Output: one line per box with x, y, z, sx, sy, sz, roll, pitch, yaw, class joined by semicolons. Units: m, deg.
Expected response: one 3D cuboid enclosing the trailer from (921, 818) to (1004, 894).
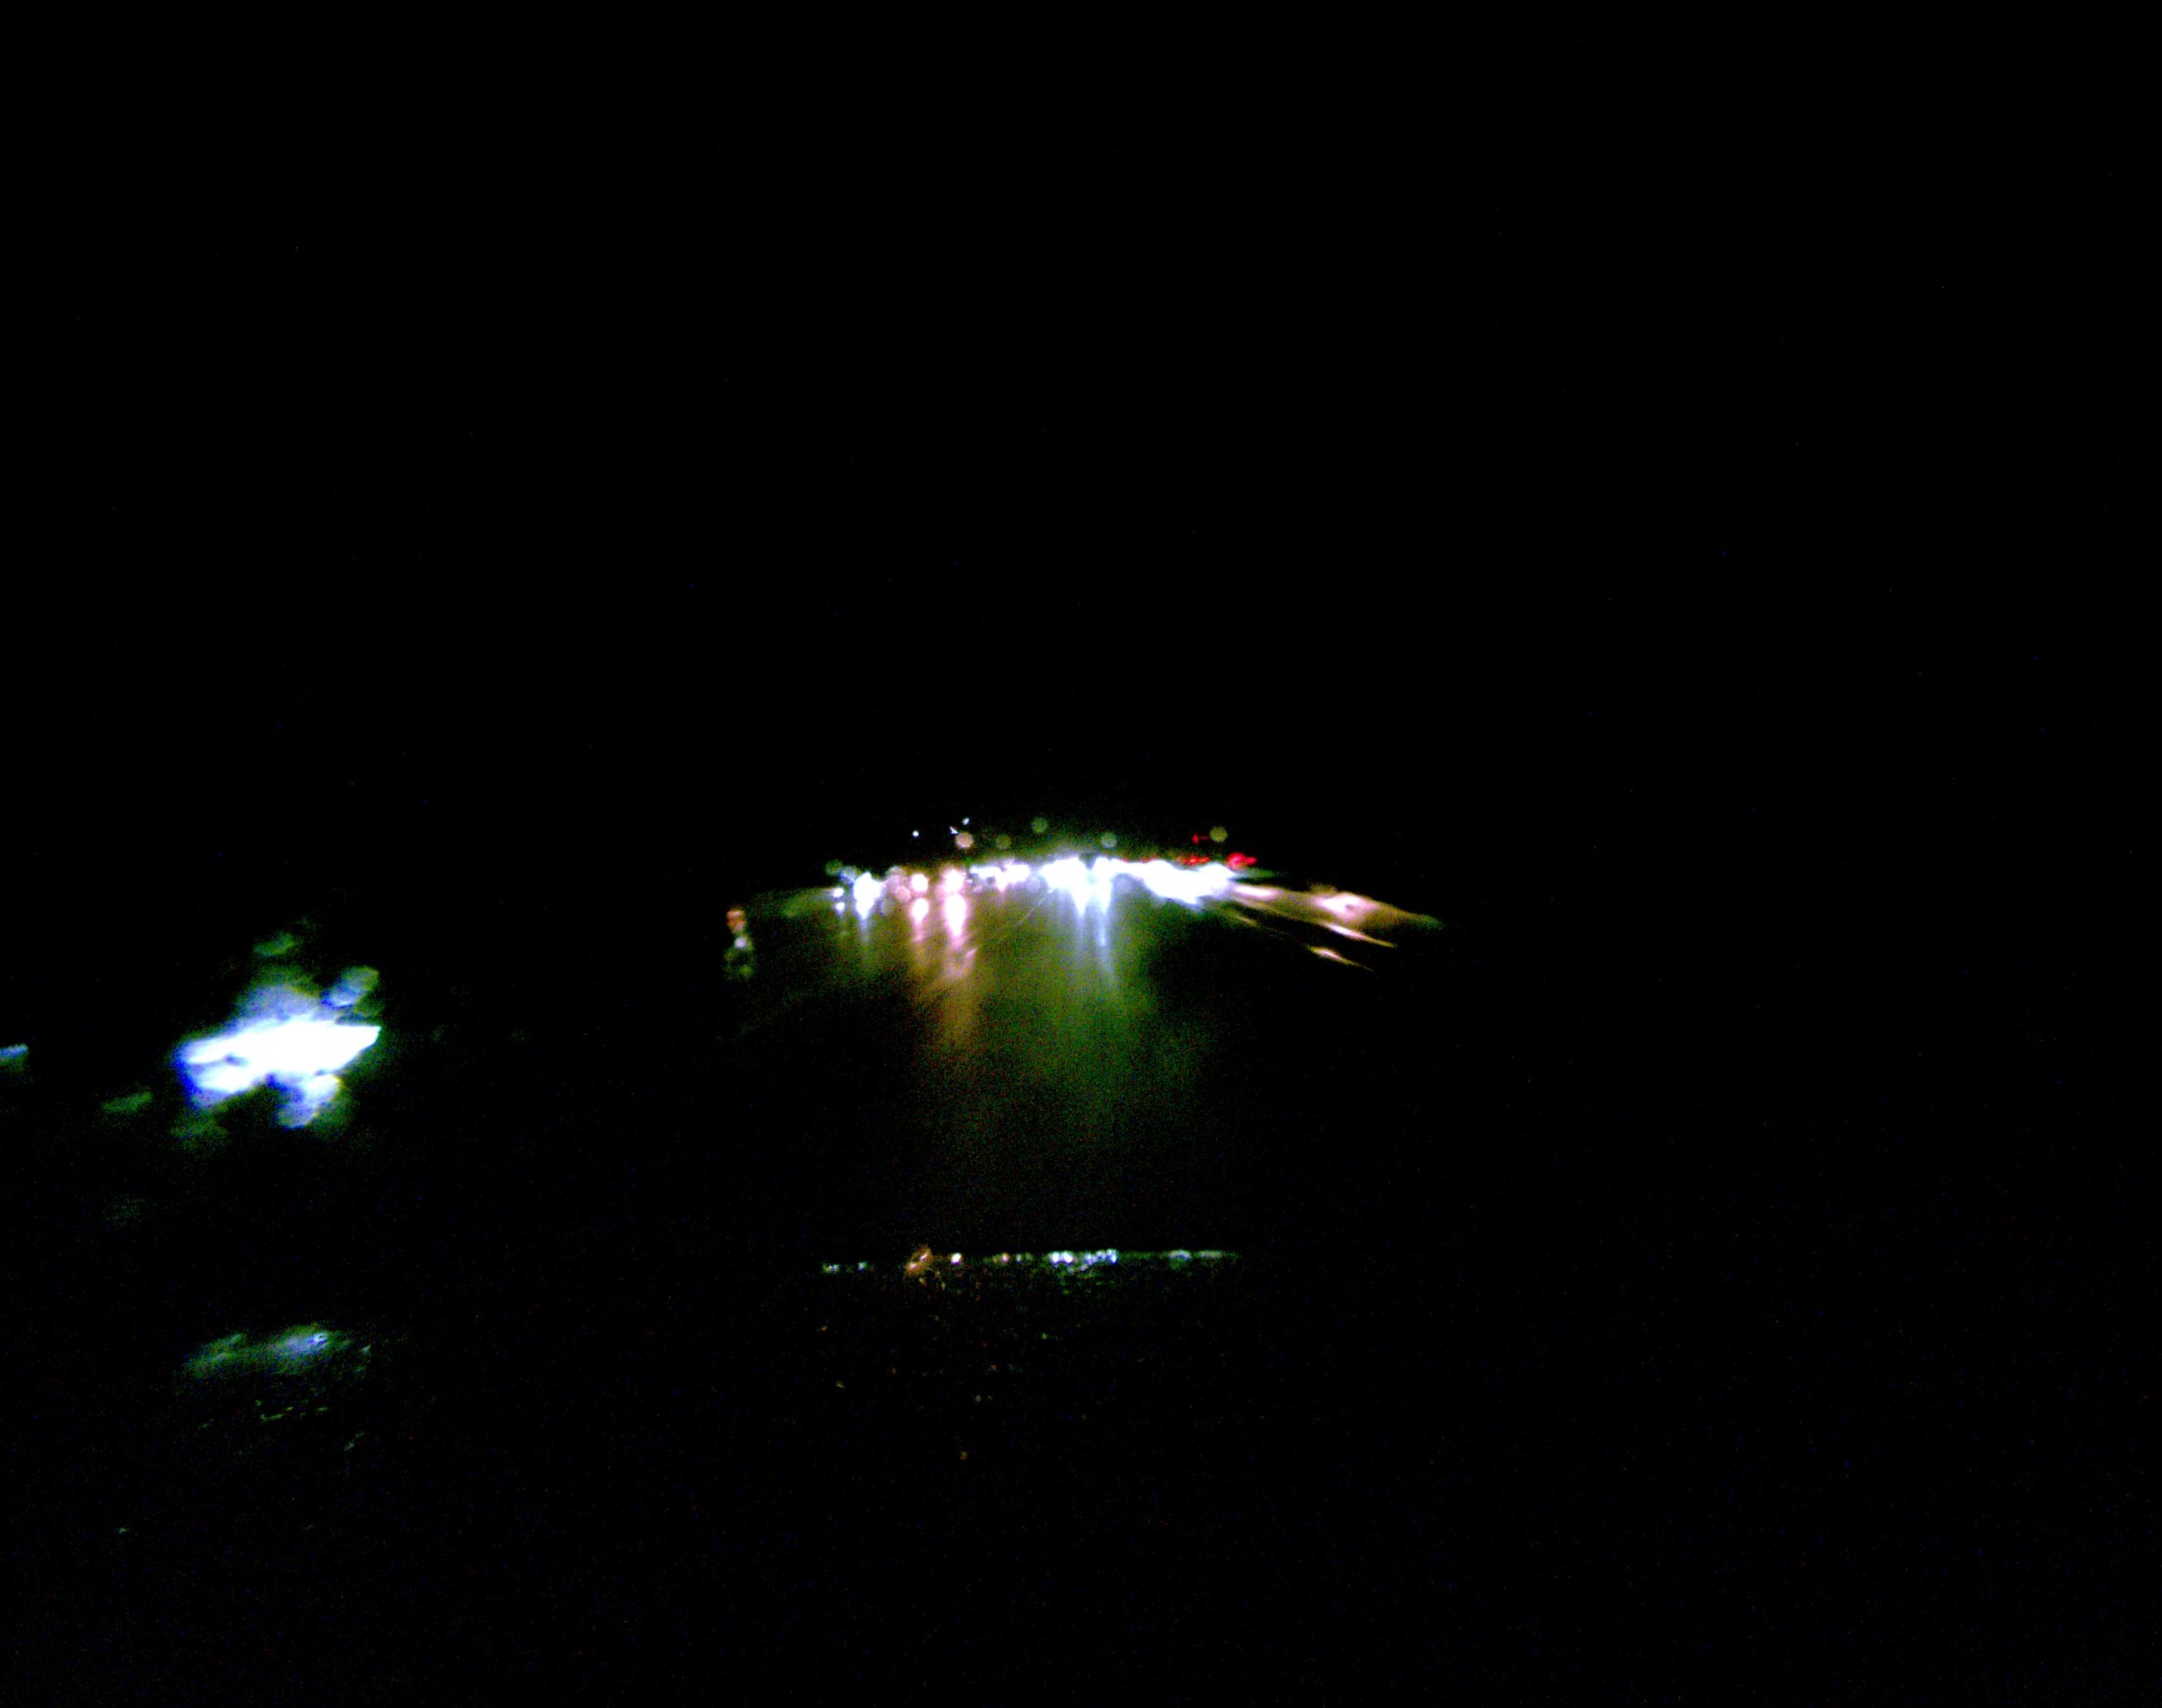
-7.199;0.033;48.575;2.746;3.955;13.817;-5;1;0;trailer

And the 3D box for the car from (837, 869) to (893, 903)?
-12.449;1.801;44.105;1.919;1.580;4.116;-5;1;1;car

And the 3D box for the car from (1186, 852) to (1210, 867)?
13.925;0.657;90.670;1.998;1.516;4.670;-5;1;1;car

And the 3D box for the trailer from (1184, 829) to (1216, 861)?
18.469;-1.413;118.973;2.629;4.519;13.720;-5;1;0;trailer

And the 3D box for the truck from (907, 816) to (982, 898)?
-7.277;0.124;41.269;2.782;3.946;5.197;-5;1;0;truck

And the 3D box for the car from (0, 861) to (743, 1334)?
-3.849;0.929;4.588;1.848;1.615;3.678;-4;0;0;car

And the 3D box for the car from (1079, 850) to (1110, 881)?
0.975;0.778;54.191;1.998;2.002;4.000;-4;0;2;car

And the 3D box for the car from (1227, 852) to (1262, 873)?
14.038;0.709;65.470;1.998;1.516;4.670;-5;1;1;car

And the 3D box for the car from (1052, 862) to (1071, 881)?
-2.434;2.179;95.264;1.998;2.002;4.000;-5;1;1;car

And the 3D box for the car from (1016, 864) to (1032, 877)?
-8.739;2.526;117.517;1.998;1.615;4.625;-5;1;0;car

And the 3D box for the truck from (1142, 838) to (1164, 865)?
18.043;-0.754;191.443;3.337;6.068;16.621;-5;1;0;truck
